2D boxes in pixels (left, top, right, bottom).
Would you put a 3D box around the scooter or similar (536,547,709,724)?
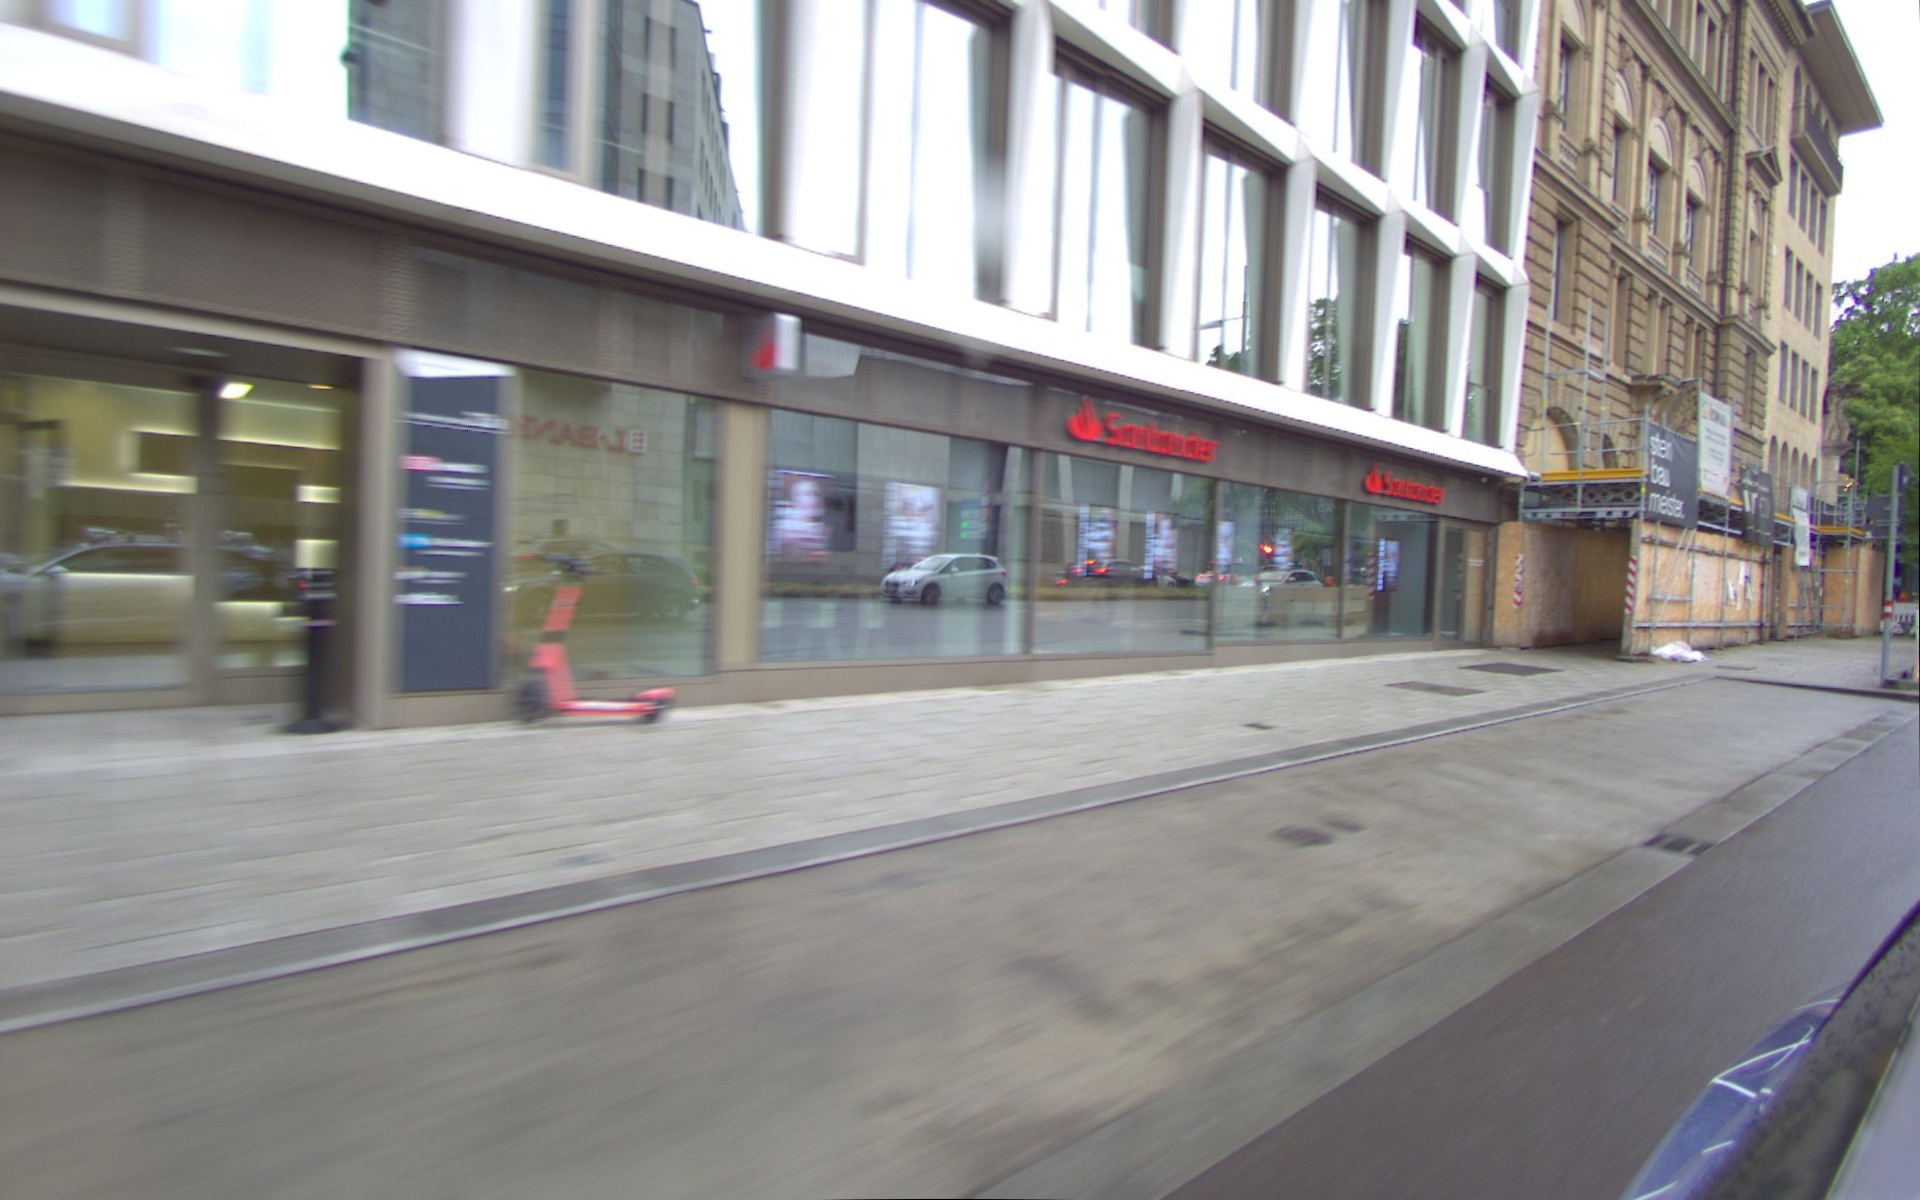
[{"bbox_3d":[-2.531,0.243,7.621,1.166,1.251,0.413,0,1,-32],"label":"scooter or similar"}]
